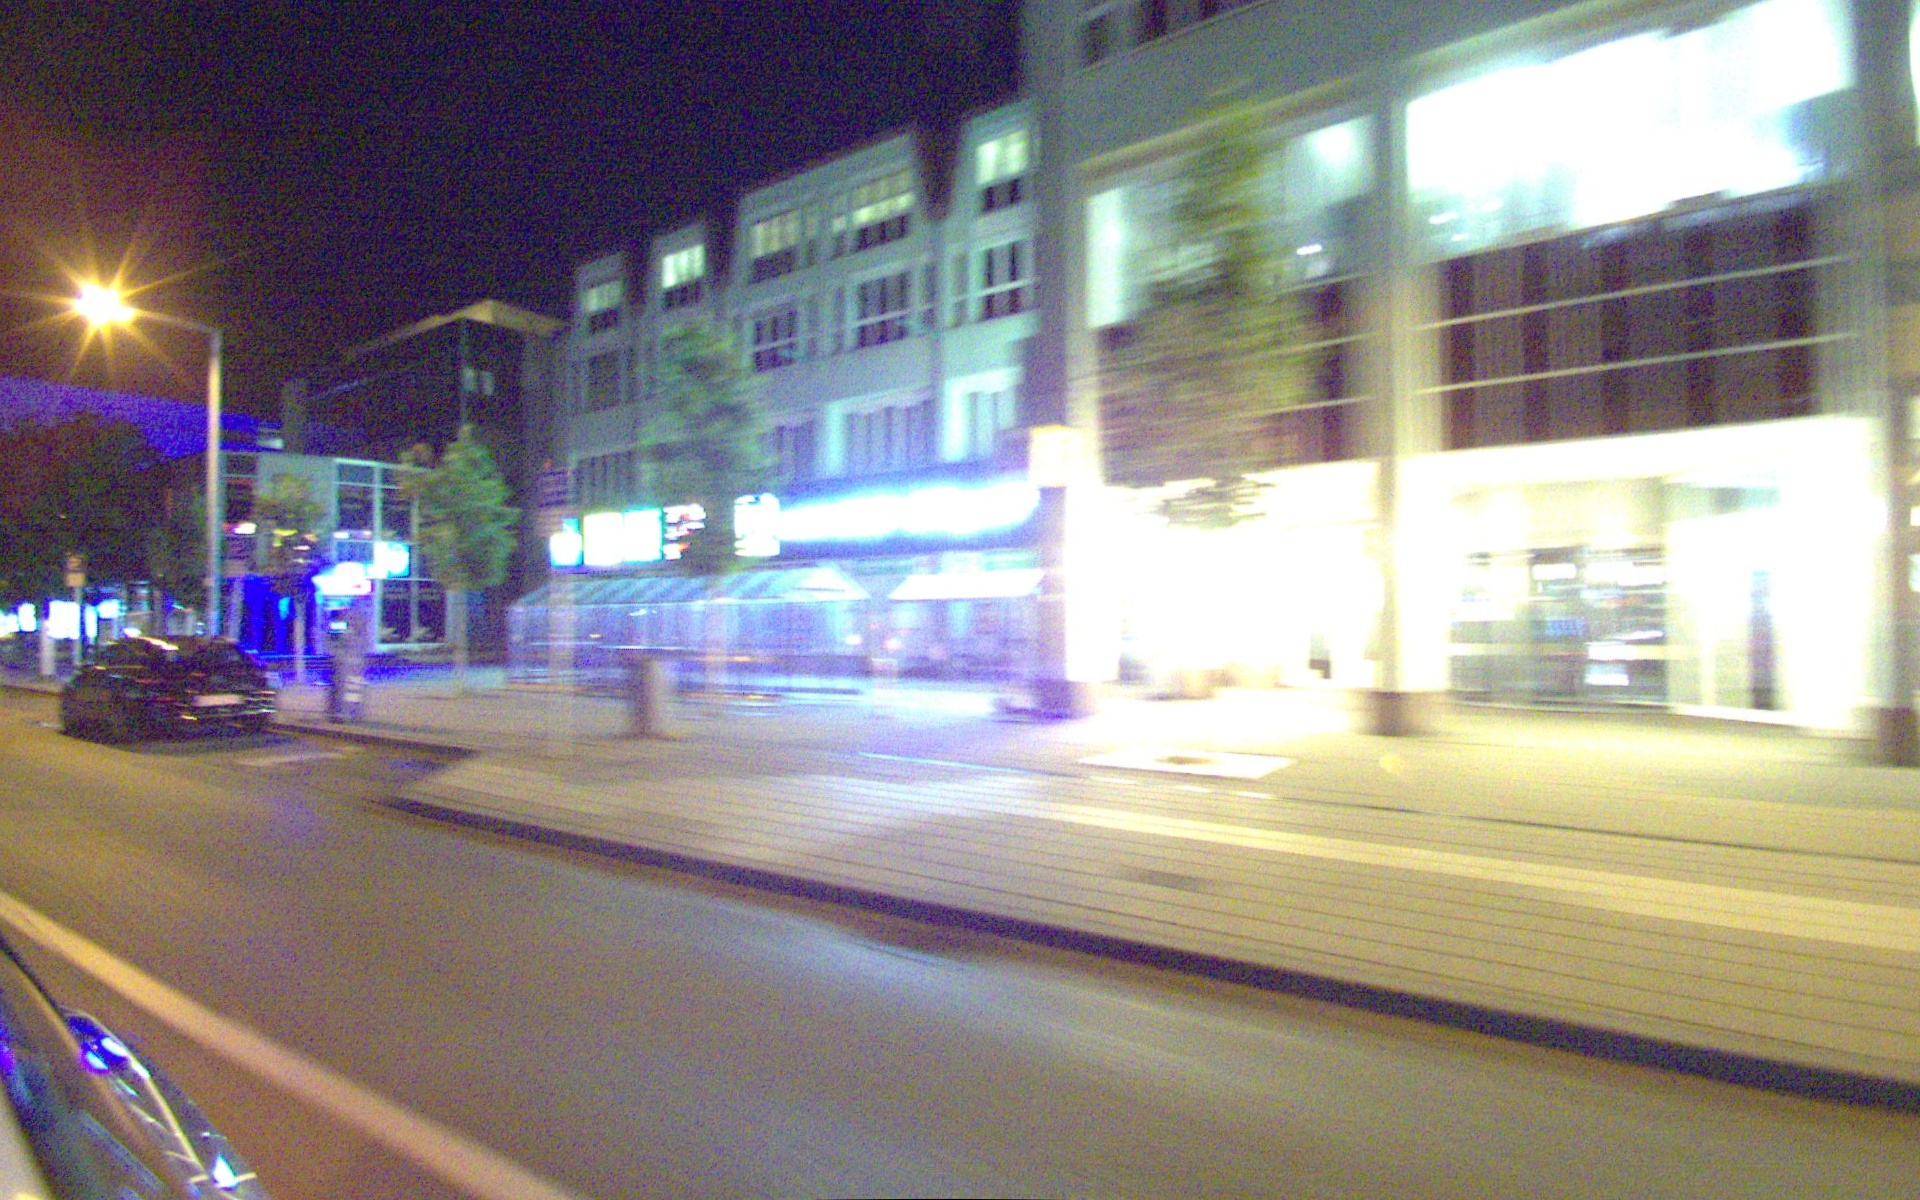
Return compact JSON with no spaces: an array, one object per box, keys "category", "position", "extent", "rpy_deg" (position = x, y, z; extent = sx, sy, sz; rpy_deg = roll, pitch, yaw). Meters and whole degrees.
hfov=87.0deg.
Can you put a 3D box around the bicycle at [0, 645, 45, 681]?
[{"category":"bicycle","position":[-31.701,2.083,33.642],"extent":[0.531,1.175,1.834],"rpy_deg":[-2,-3,36]}]

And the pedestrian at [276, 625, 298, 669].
[{"category":"pedestrian","position":[-25.188,1.760,37.896],"extent":[0.631,1.649,0.473],"rpy_deg":[-2,-3,37]}]

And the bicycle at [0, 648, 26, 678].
[{"category":"bicycle","position":[-34.088,2.246,35.522],"extent":[0.531,1.007,1.834],"rpy_deg":[-2,-1,36]}]

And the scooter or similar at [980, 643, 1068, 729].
[{"category":"scooter or similar","position":[0.940,1.249,15.031],"extent":[1.342,1.230,0.383],"rpy_deg":[-2,-3,39]}]

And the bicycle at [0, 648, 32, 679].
[{"category":"bicycle","position":[-33.475,2.222,35.088],"extent":[0.531,1.043,1.834],"rpy_deg":[-2,-1,36]}]

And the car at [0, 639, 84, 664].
[{"category":"car","position":[-53.788,2.962,58.668],"extent":[1.799,1.408,4.290],"rpy_deg":[-2,-2,35]}]

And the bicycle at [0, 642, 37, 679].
[{"category":"bicycle","position":[-32.922,2.081,34.656],"extent":[0.531,1.263,1.834],"rpy_deg":[-2,-3,36]}]

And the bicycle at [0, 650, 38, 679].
[{"category":"bicycle","position":[-32.202,2.170,33.931],"extent":[0.500,0.975,1.834],"rpy_deg":[-2,-3,36]}]

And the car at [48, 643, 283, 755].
[{"category":"car","position":[-12.053,1.375,15.252],"extent":[4.488,1.424,1.725],"rpy_deg":[-2,-2,37]}]
